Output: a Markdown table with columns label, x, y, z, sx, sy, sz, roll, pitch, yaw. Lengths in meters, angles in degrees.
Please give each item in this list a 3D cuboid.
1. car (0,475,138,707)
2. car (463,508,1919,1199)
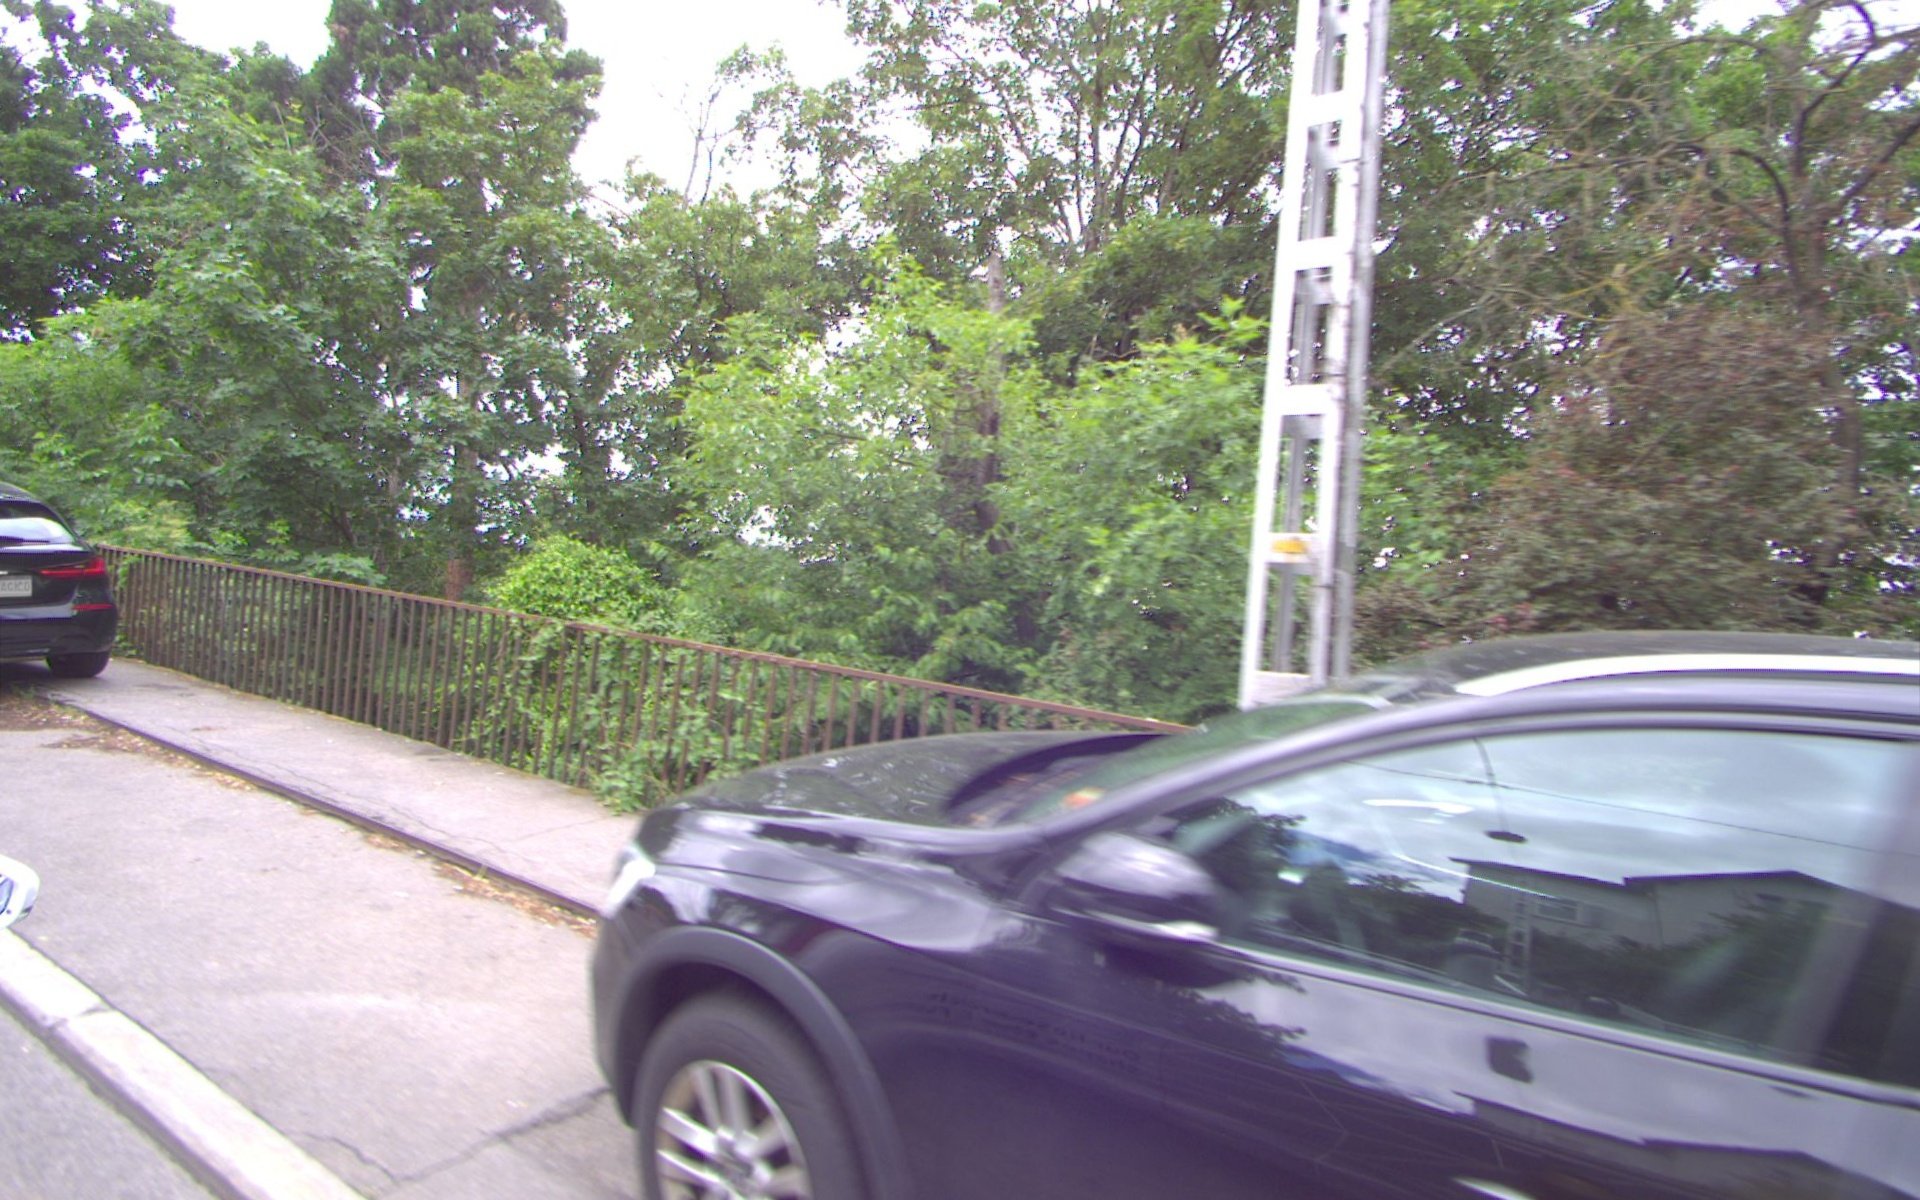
| label | x | y | z | sx | sy | sz | roll | pitch | yaw |
| --- | --- | --- | --- | --- | --- | --- | --- | --- | --- |
| car | -8.157 | -0.246 | 7.404 | 4.120 | 1.484 | 1.807 | 7 | 5 | 27 |
| car | 1.149 | 0.776 | 1.838 | 4.323 | 1.543 | 1.763 | 7 | 4 | 34 |
